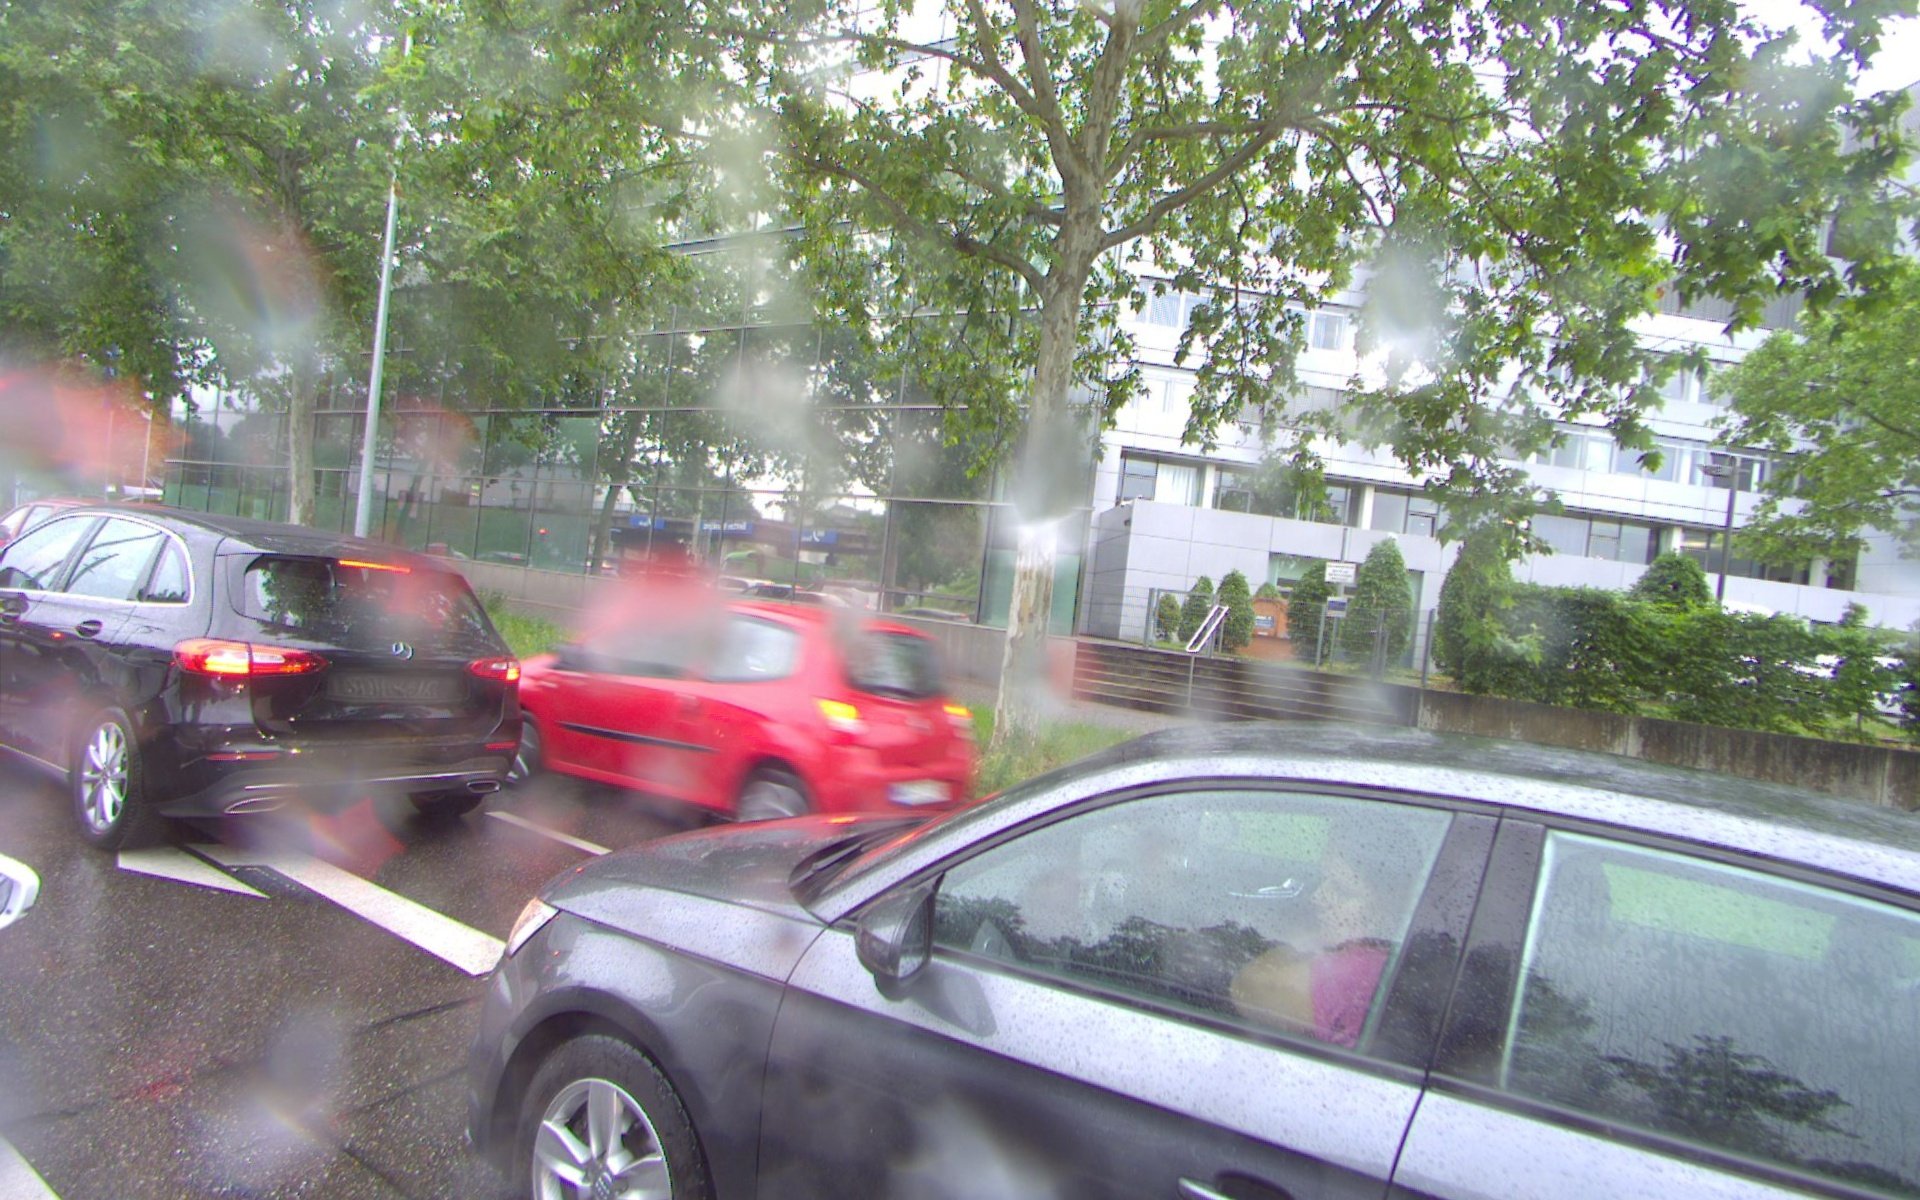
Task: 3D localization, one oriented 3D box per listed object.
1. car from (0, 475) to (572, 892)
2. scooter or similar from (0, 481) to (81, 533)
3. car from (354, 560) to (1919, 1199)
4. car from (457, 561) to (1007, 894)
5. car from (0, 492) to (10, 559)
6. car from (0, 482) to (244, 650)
[{"bbox_3d":[-4.351,0.245,5.753,4.022,1.573,1.751,7,-1,31],"label":"car"},{"bbox_3d":[-54.532,-5.518,58.144,5.228,2.476,1.893,7,0,-9],"label":"scooter or similar"},{"bbox_3d":[0.654,0.884,2.121,3.718,1.445,1.679,7,-1,31],"label":"car"},{"bbox_3d":[-1.590,0.707,6.813,3.332,1.480,1.572,7,-1,31],"label":"car"},{"bbox_3d":[-18.619,-1.345,17.560,3.933,1.631,1.880,7,-2,32],"label":"car"},{"bbox_3d":[-11.272,-0.495,12.954,4.201,1.714,1.714,6,-2,32],"label":"car"}]
